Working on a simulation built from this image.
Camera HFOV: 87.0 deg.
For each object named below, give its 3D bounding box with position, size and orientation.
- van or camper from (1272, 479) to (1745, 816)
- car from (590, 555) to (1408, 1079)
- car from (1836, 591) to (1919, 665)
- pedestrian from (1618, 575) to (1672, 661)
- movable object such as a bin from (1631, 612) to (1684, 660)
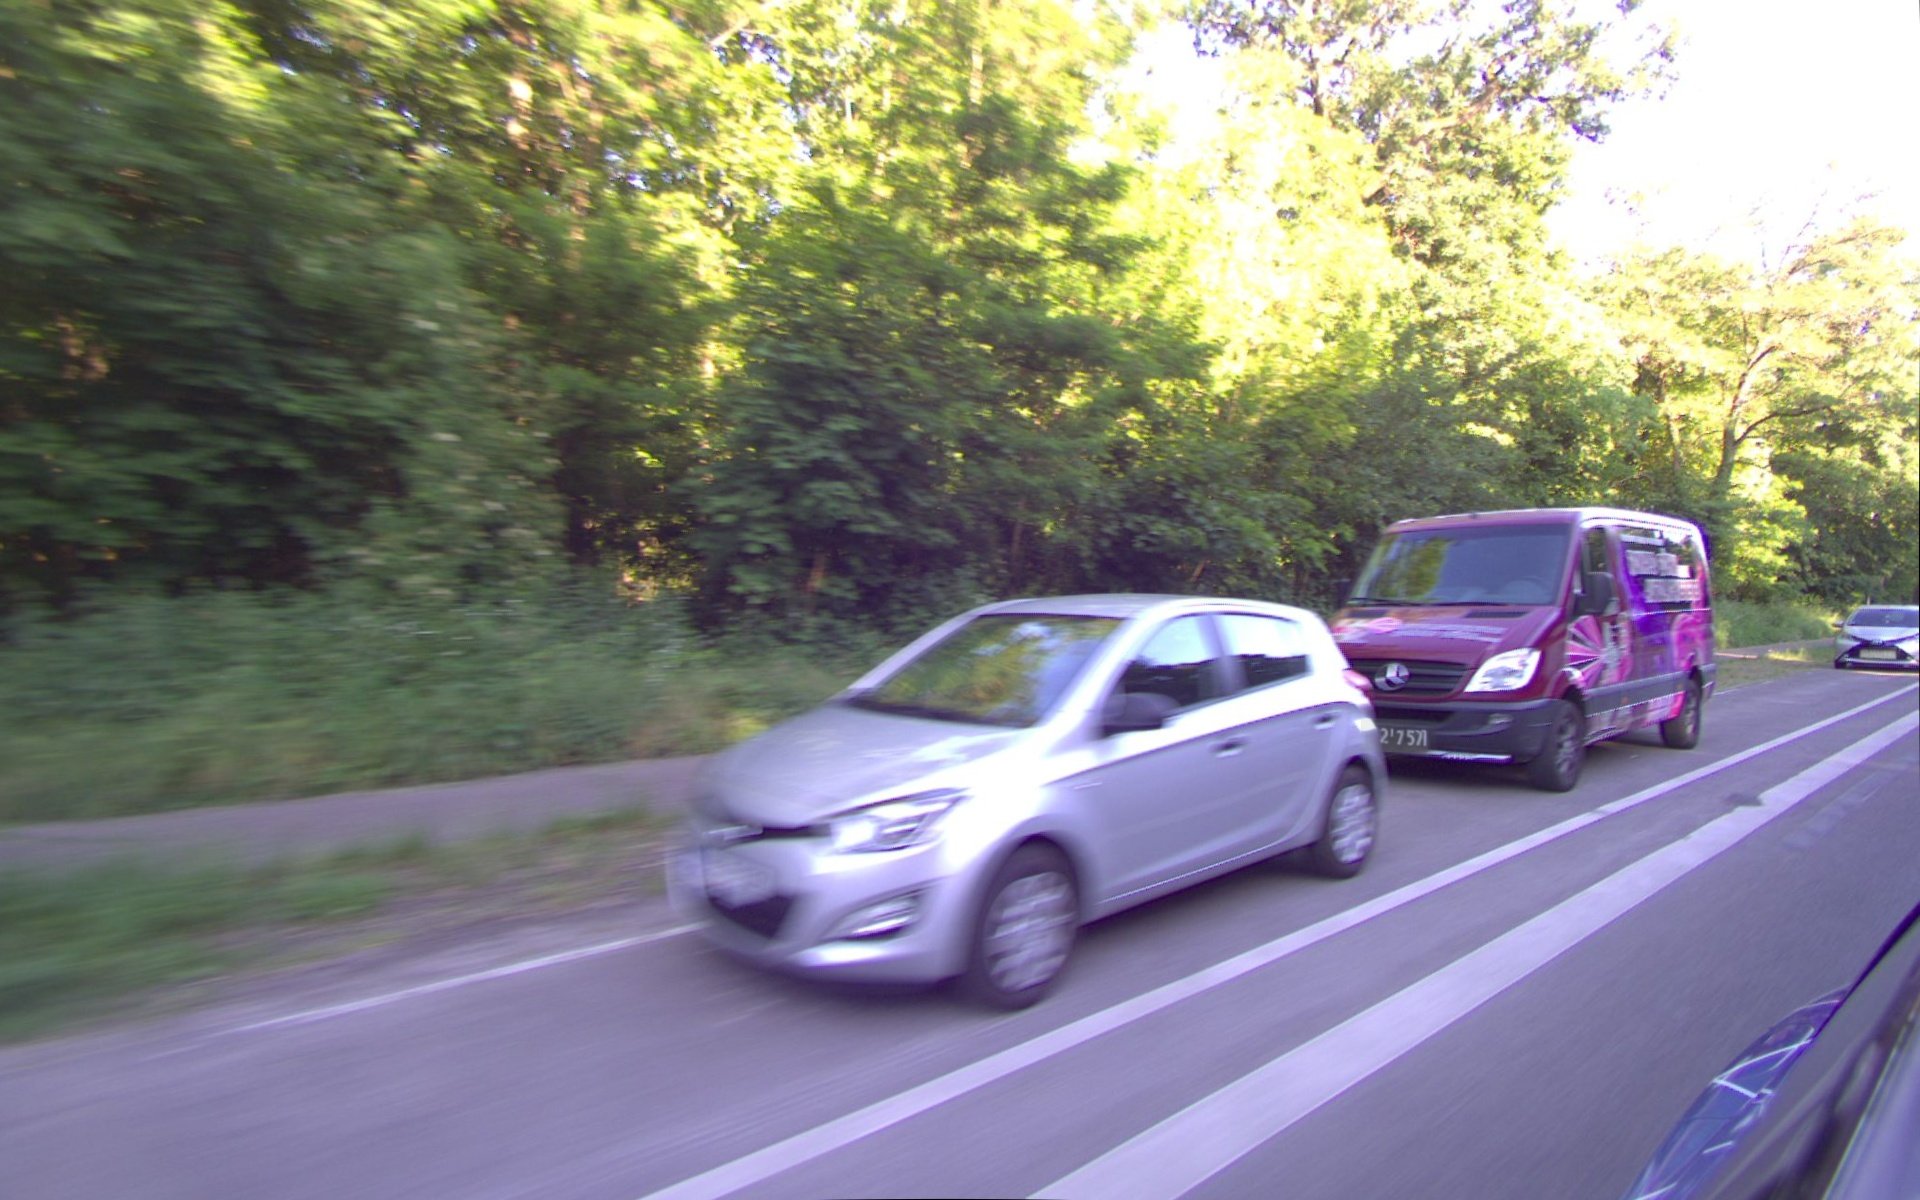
[{"bbox_3d":[5.572,0.297,9.766,5.936,2.340,2.039,1,2,-42],"label":"van or camper"},{"bbox_3d":[0.472,0.627,4.956,3.932,1.534,1.749,0,0,-43],"label":"car"},{"bbox_3d":[21.531,0.602,23.099,3.950,1.565,1.715,1,0,-40],"label":"car"},{"bbox_3d":[15.825,0.401,23.386,0.903,1.942,0.769,1,1,-40],"label":"pedestrian"},{"bbox_3d":[16.653,0.845,24.166,0.969,1.060,0.791,1,2,-40],"label":"movable object such as a bin"}]
